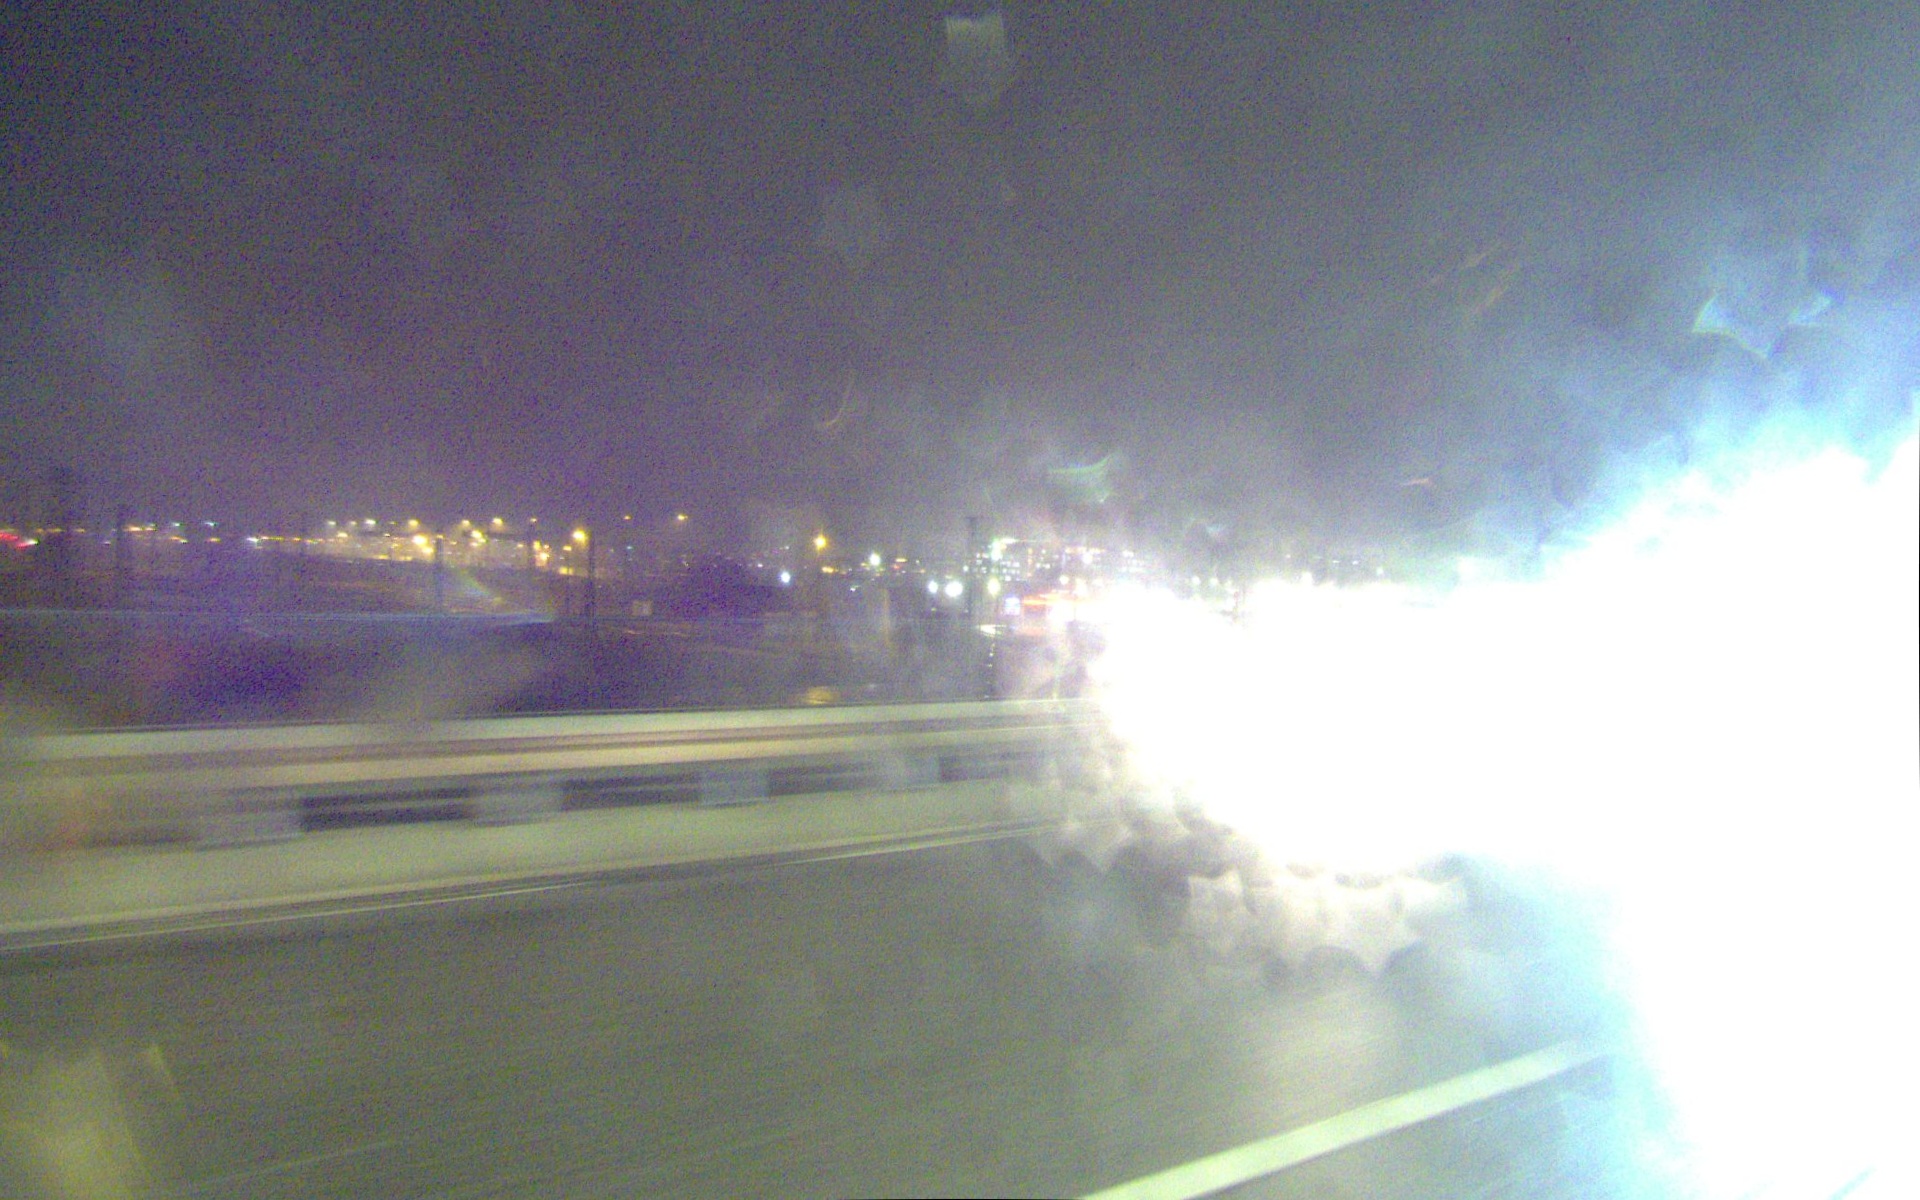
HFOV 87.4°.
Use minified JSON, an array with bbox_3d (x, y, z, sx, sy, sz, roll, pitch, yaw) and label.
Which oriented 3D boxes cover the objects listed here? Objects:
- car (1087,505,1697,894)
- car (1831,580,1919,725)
[{"bbox_3d":[2.942,0.521,6.657,3.954,1.885,1.745,0,-2,-31],"label":"car"},{"bbox_3d":[13.567,0.654,13.336,4.934,1.742,2.008,1,-1,-36],"label":"car"}]
